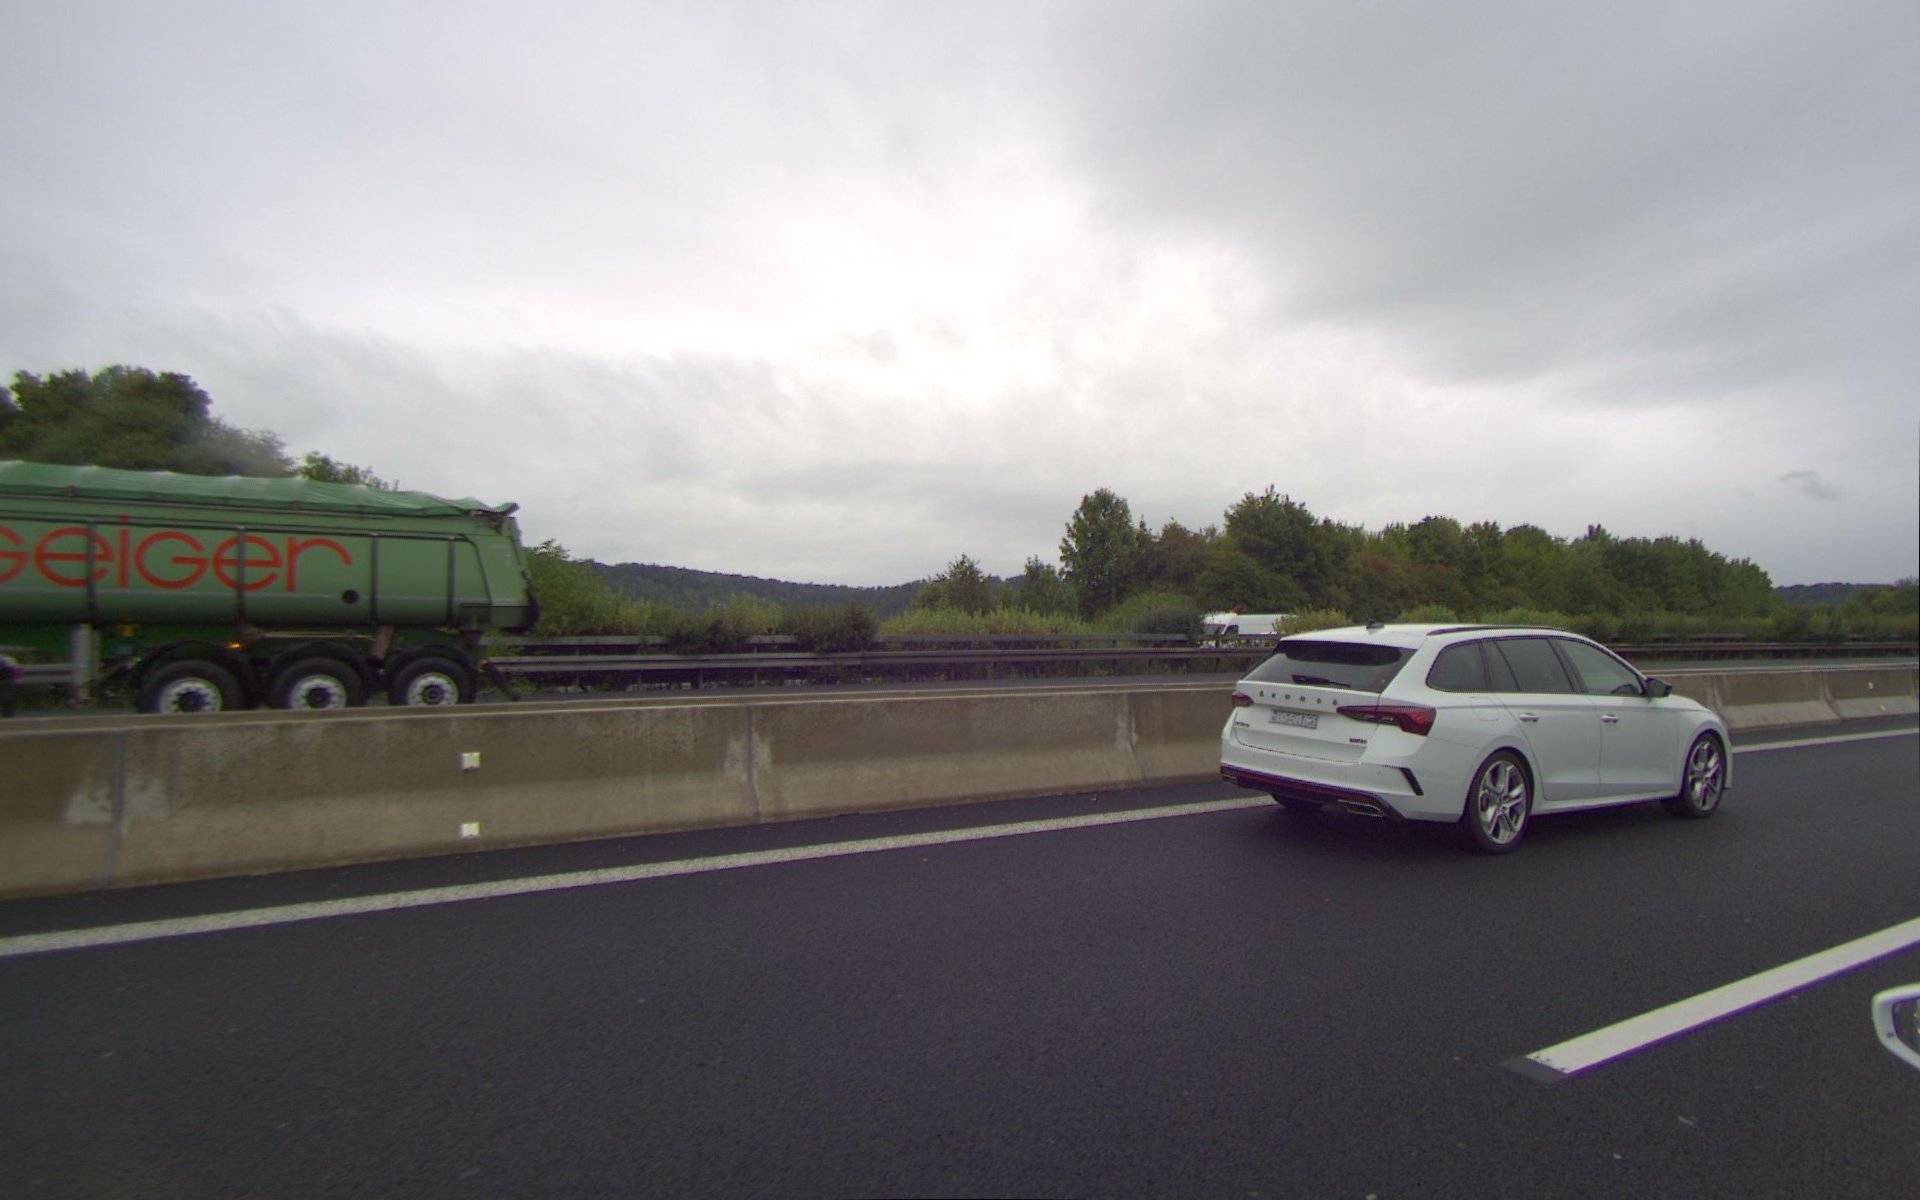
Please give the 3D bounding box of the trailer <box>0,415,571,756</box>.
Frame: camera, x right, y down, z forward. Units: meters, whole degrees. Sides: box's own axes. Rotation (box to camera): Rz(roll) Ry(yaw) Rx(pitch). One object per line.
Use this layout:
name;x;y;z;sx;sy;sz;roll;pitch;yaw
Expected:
trailer;-10.057;-0.097;13.247;8.824;3.798;2.889;2;-1;-31

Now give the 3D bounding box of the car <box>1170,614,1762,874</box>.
car;4.011;0.896;7.711;4.722;1.475;1.810;2;-2;-30

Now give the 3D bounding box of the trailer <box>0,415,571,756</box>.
trailer;-10.057;-0.097;13.247;8.824;3.798;2.889;2;-1;-31

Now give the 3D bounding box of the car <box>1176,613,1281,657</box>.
car;11.484;1.491;42.919;4.358;1.810;1.793;1;-2;-29

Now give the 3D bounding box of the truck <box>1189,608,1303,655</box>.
truck;14.575;1.608;50.996;6.091;2.271;2.014;1;-2;-32

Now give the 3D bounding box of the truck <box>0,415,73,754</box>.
truck;-13.940;-0.218;10.927;5.876;3.798;2.873;2;-1;-31
